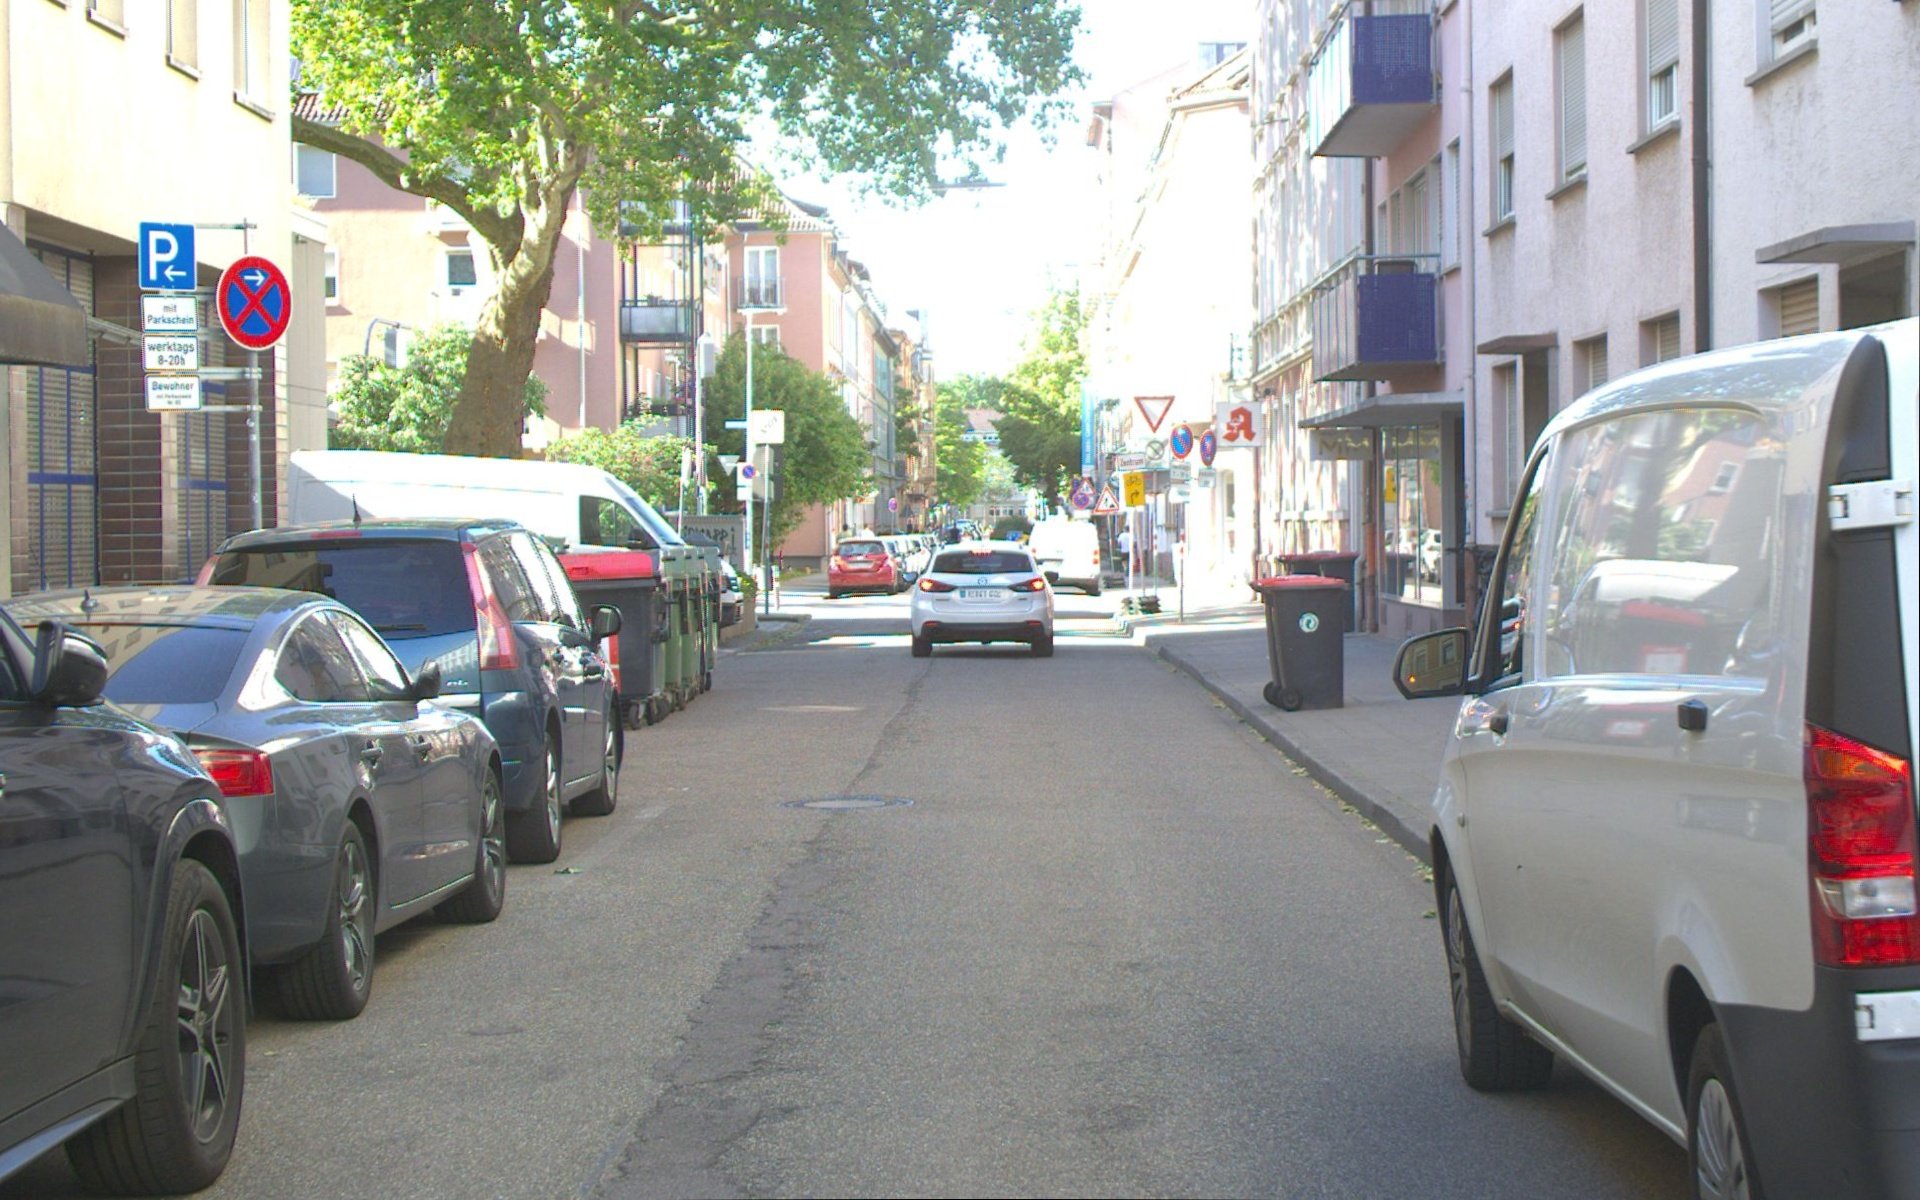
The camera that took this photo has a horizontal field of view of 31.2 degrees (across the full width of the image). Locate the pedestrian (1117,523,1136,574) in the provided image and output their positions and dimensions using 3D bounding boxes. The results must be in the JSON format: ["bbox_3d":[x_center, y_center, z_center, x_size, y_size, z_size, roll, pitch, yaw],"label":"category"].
[{"bbox_3d":[5.634,-1.733,116.231,0.617,1.727,0.560,-1,0,0],"label":"pedestrian"}]

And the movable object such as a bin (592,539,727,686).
[{"bbox_3d":[-3.010,0.120,34.534,1.300,1.446,1.117,0,0,-2],"label":"movable object such as a bin"}]

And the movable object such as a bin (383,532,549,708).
[{"bbox_3d":[-4.340,0.169,30.292,1.302,1.517,1.018,0,0,1],"label":"movable object such as a bin"}]

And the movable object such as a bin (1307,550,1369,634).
[{"bbox_3d":[5.045,-0.108,45.919,0.729,1.100,0.693,-1,0,-1],"label":"movable object such as a bin"}]

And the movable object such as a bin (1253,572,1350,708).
[{"bbox_3d":[2.751,0.316,27.739,0.732,1.077,0.703,-1,0,2],"label":"movable object such as a bin"}]

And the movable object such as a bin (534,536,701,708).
[{"bbox_3d":[-3.001,0.189,30.239,1.348,1.482,1.003,0,0,1],"label":"movable object such as a bin"}]

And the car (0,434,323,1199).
[{"bbox_3d":[-2.726,0.574,6.591,1.936,1.730,5.142,-1,1,1],"label":"car"}]

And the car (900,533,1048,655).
[{"bbox_3d":[0.185,-0.112,44.670,1.823,1.509,3.824,0,1,0],"label":"car"}]

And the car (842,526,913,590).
[{"bbox_3d":[-2.212,-1.134,93.021,1.720,1.677,3.726,-1,1,2],"label":"car"}]

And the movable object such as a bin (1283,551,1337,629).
[{"bbox_3d":[4.868,-0.136,47.869,0.701,1.069,0.596,-1,0,3],"label":"movable object such as a bin"}]

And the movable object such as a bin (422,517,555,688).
[{"bbox_3d":[-4.604,0.020,33.633,1.227,1.647,1.174,0,0,-5],"label":"movable object such as a bin"}]

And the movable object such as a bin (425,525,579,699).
[{"bbox_3d":[-4.298,0.106,32.358,1.288,1.599,1.082,0,0,1],"label":"movable object such as a bin"}]

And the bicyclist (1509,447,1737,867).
[{"bbox_3d":[2.904,0.231,15.113,0.760,1.764,0.823,-3,2,-1],"label":"bicyclist"}]

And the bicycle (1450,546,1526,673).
[{"bbox_3d":[4.922,0.075,32.108,0.453,1.130,1.919,-3,1,3],"label":"bicycle"}]

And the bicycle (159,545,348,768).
[{"bbox_3d":[-4.444,0.355,21.743,0.465,1.327,1.853,4,0,9],"label":"bicycle"}]

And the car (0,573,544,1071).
[{"bbox_3d":[-2.778,0.643,12.394,1.845,1.412,4.818,-2,0,1],"label":"car"}]

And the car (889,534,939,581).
[{"bbox_3d":[-1.580,-1.478,119.634,1.572,1.580,3.611,-1,0,2],"label":"car"}]

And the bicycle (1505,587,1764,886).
[{"bbox_3d":[2.931,0.556,15.125,0.663,1.133,1.988,-3,2,-1],"label":"bicycle"}]

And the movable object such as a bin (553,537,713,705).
[{"bbox_3d":[-2.965,0.182,31.274,1.343,1.494,1.018,0,0,1],"label":"movable object such as a bin"}]

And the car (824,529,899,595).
[{"bbox_3d":[-2.490,-0.989,87.429,1.770,1.583,3.726,-1,2,0],"label":"car"}]

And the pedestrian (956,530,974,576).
[{"bbox_3d":[0.204,-1.817,132.782,0.647,1.791,0.639,-1,0,2],"label":"pedestrian"}]

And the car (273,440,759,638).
[{"bbox_3d":[-6.490,-0.892,50.754,6.740,2.546,2.145,3,1,3],"label":"car"}]

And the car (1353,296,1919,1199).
[{"bbox_3d":[2.231,0.379,7.795,1.983,1.877,5.600,-4,1,1],"label":"car"}]

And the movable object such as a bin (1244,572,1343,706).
[{"bbox_3d":[2.754,0.316,28.453,0.768,1.083,0.693,-1,0,2],"label":"movable object such as a bin"}]

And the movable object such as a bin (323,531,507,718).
[{"bbox_3d":[-4.433,0.190,28.058,1.296,1.493,1.179,0,0,1],"label":"movable object such as a bin"}]

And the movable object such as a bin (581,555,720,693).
[{"bbox_3d":[-2.997,0.221,33.435,1.241,1.317,1.046,0,0,1],"label":"movable object such as a bin"}]

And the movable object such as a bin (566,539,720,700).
[{"bbox_3d":[-2.967,0.178,32.342,1.334,1.486,1.082,0,0,1],"label":"movable object such as a bin"}]

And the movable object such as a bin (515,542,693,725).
[{"bbox_3d":[-3.008,0.275,29.195,1.334,1.479,1.093,-2,0,1],"label":"movable object such as a bin"}]

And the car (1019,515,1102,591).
[{"bbox_3d":[2.631,-1.237,90.518,1.942,1.941,4.079,1,1,-1],"label":"car"}]

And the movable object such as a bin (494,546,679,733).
[{"bbox_3d":[-3.030,0.310,28.021,1.319,1.445,1.187,-2,0,1],"label":"movable object such as a bin"}]

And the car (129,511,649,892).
[{"bbox_3d":[-2.777,0.407,17.774,1.782,1.661,4.670,-2,1,1],"label":"car"}]

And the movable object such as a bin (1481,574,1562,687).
[{"bbox_3d":[4.793,0.258,29.373,0.598,0.948,0.682,-1,0,2],"label":"movable object such as a bin"}]
